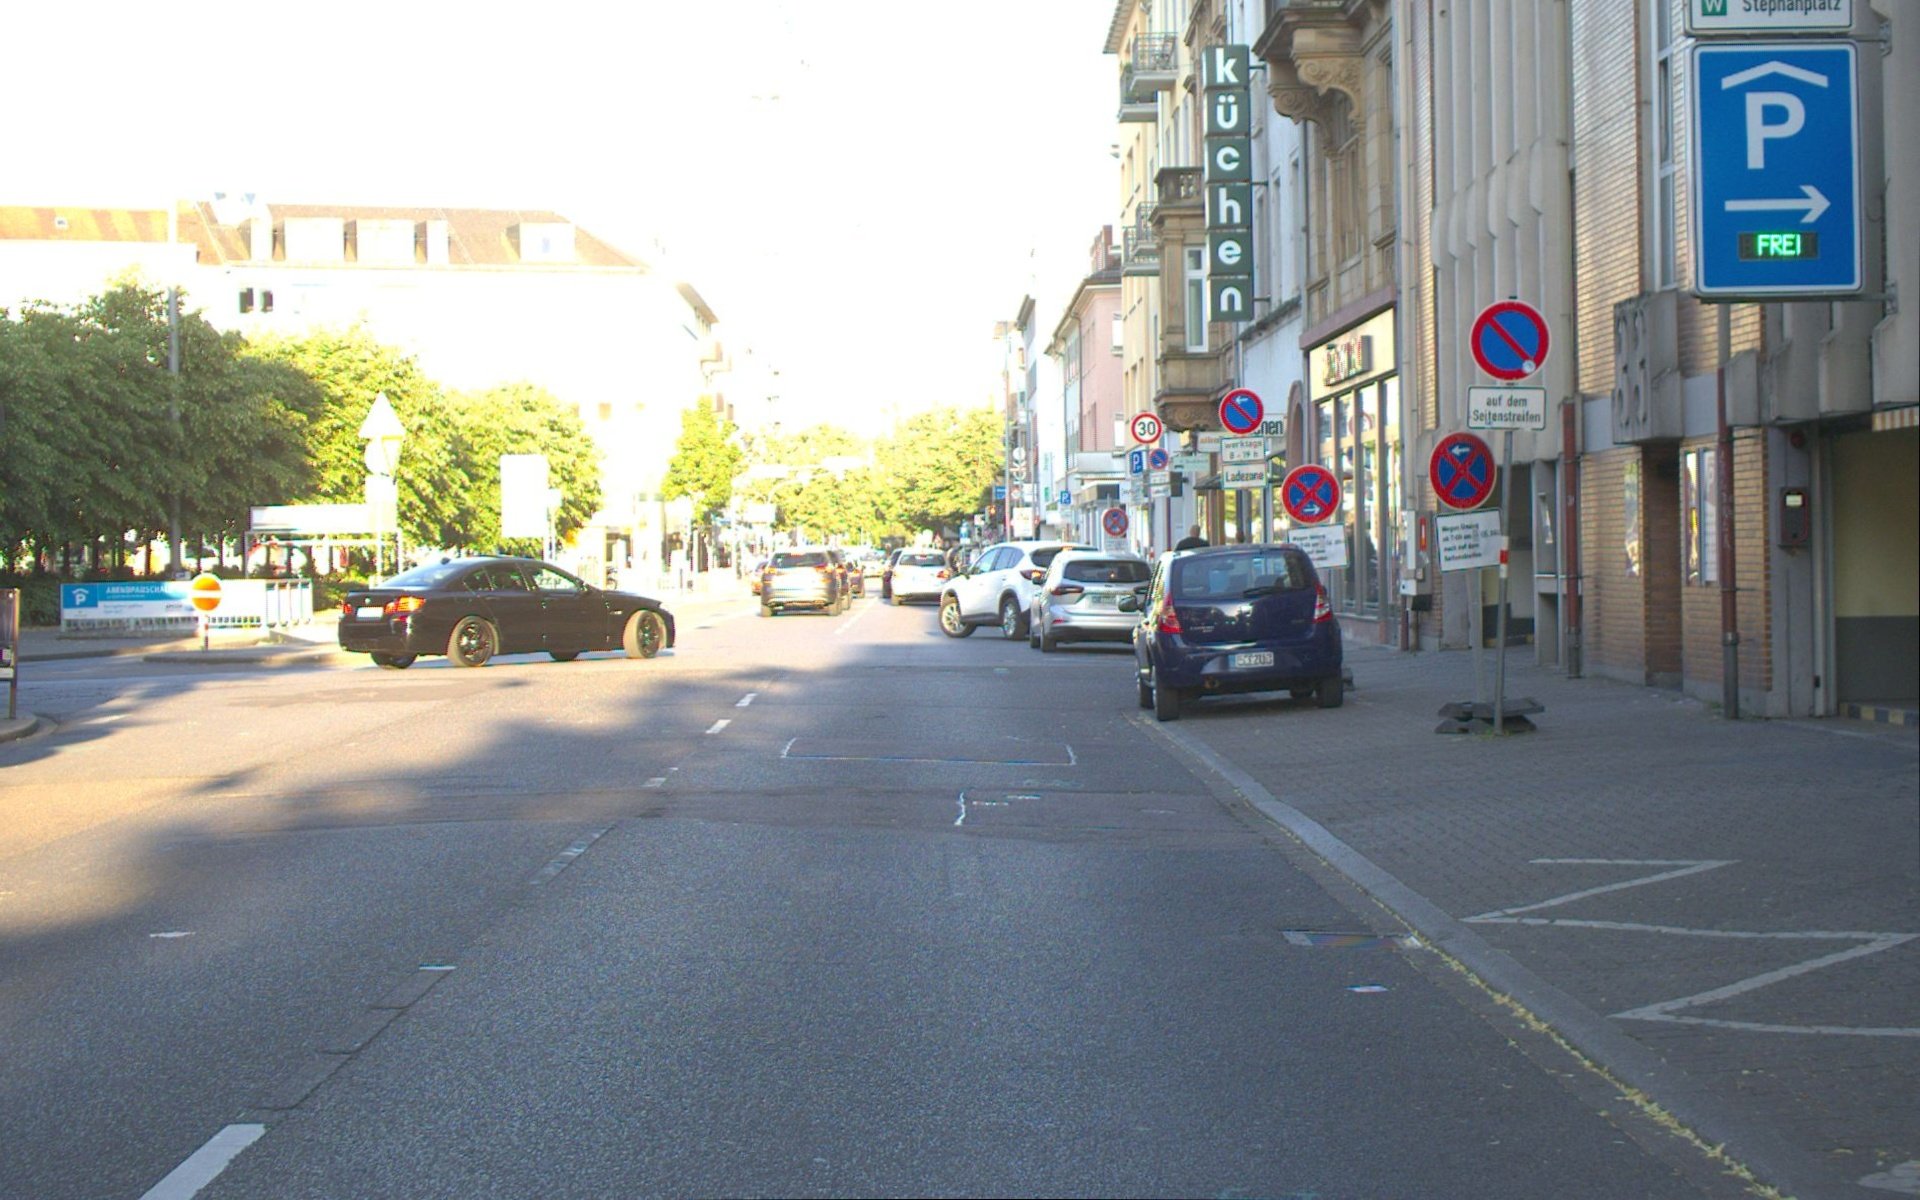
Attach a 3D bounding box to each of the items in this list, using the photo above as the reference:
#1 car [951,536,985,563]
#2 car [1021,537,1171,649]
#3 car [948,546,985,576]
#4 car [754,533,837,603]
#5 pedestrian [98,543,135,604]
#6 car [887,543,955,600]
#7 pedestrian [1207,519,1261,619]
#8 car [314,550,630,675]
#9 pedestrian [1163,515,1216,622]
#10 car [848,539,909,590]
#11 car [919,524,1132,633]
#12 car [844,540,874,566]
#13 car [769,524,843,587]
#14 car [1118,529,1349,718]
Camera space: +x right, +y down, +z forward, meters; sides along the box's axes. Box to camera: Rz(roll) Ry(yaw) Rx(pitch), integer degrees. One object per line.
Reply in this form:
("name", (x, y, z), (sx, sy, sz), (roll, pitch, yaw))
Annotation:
("car", (0.489, -3.005, 203.415), (1.896, 1.575, 3.852), (-1, 1, -1))
("car", (1.943, -0.115, 50.446), (1.759, 1.531, 4.822), (1, 0, -3))
("car", (0.317, -2.119, 184.910), (1.896, 1.575, 3.852), (1, 1, -1))
("car", (-3.976, -0.787, 83.642), (1.896, 1.644, 4.104), (0, 1, -1))
("pedestrian", (-22.152, -0.703, 90.309), (0.678, 1.589, 0.676), (0, 1, 19))
("car", (-1.126, -0.828, 98.758), (1.896, 1.575, 4.000), (1, 1, -1))
("pedestrian", (4.774, -0.542, 60.005), (0.772, 1.705, 1.042), (-3, 1, -1))
("car", (-6.506, 0.148, 46.154), (1.901, 1.575, 3.991), (1, 1, 38))
("pedestrian", (3.998, -0.556, 59.934), (0.772, 1.821, 1.011), (-3, 1, -1))
("car", (-2.656, -1.181, 112.575), (1.896, 1.575, 3.852), (2, 1, -1))
("car", (1.070, -0.384, 58.980), (1.993, 1.755, 4.467), (-1, 1, -22))
("car", (-6.052, -2.816, 207.147), (1.779, 1.542, 4.000), (0, 1, -1))
("car", (-4.106, -1.202, 92.195), (1.896, 1.644, 4.104), (0, 1, -1))
("car", (2.468, 0.165, 31.882), (1.759, 1.531, 4.000), (-4, 1, 0))
